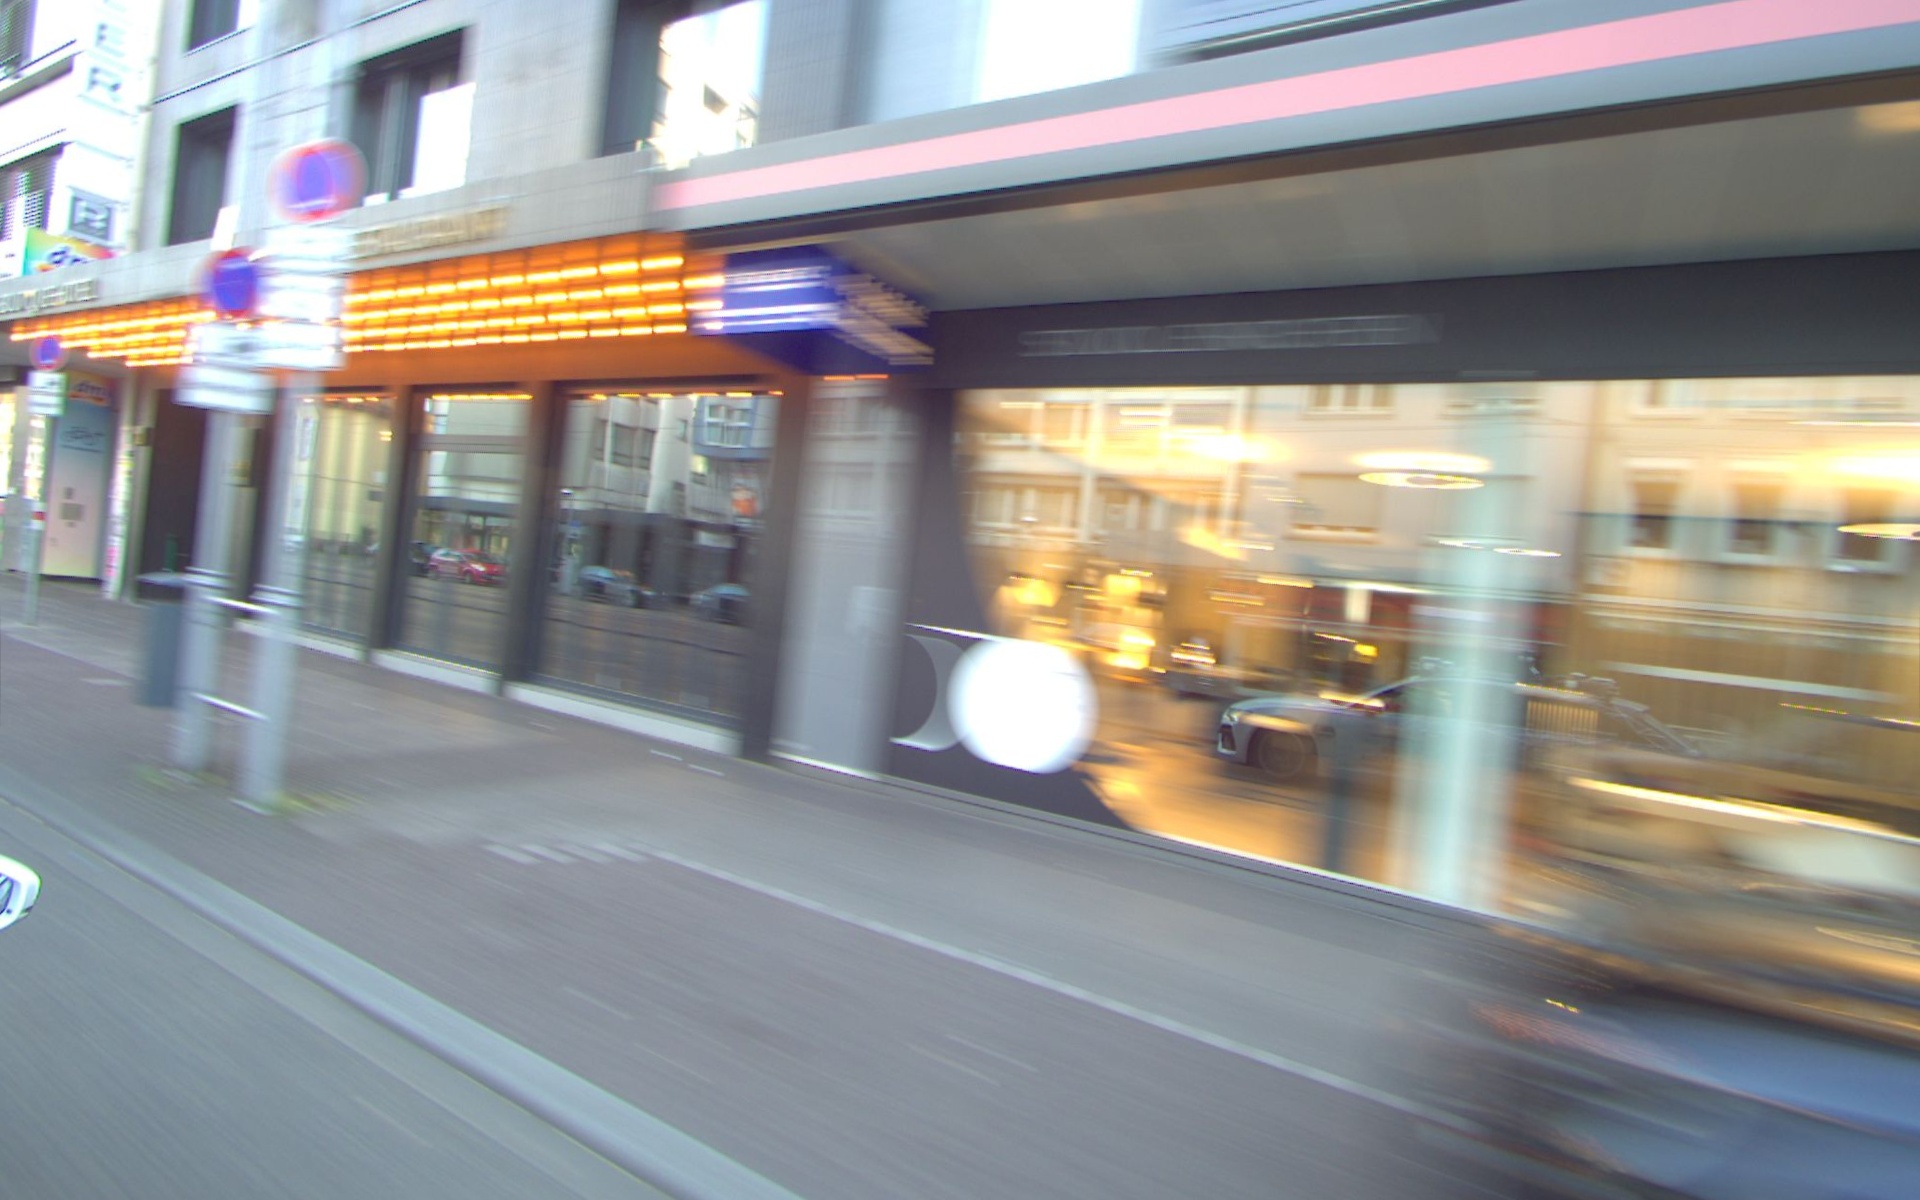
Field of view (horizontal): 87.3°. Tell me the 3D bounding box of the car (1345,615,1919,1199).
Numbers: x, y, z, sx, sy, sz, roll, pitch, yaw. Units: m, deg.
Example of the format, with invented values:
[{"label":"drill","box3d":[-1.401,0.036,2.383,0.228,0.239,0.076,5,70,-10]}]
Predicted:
[{"label":"car","box3d":[2.778,1.039,1.453,3.900,1.559,1.742,6,0,31]}]
